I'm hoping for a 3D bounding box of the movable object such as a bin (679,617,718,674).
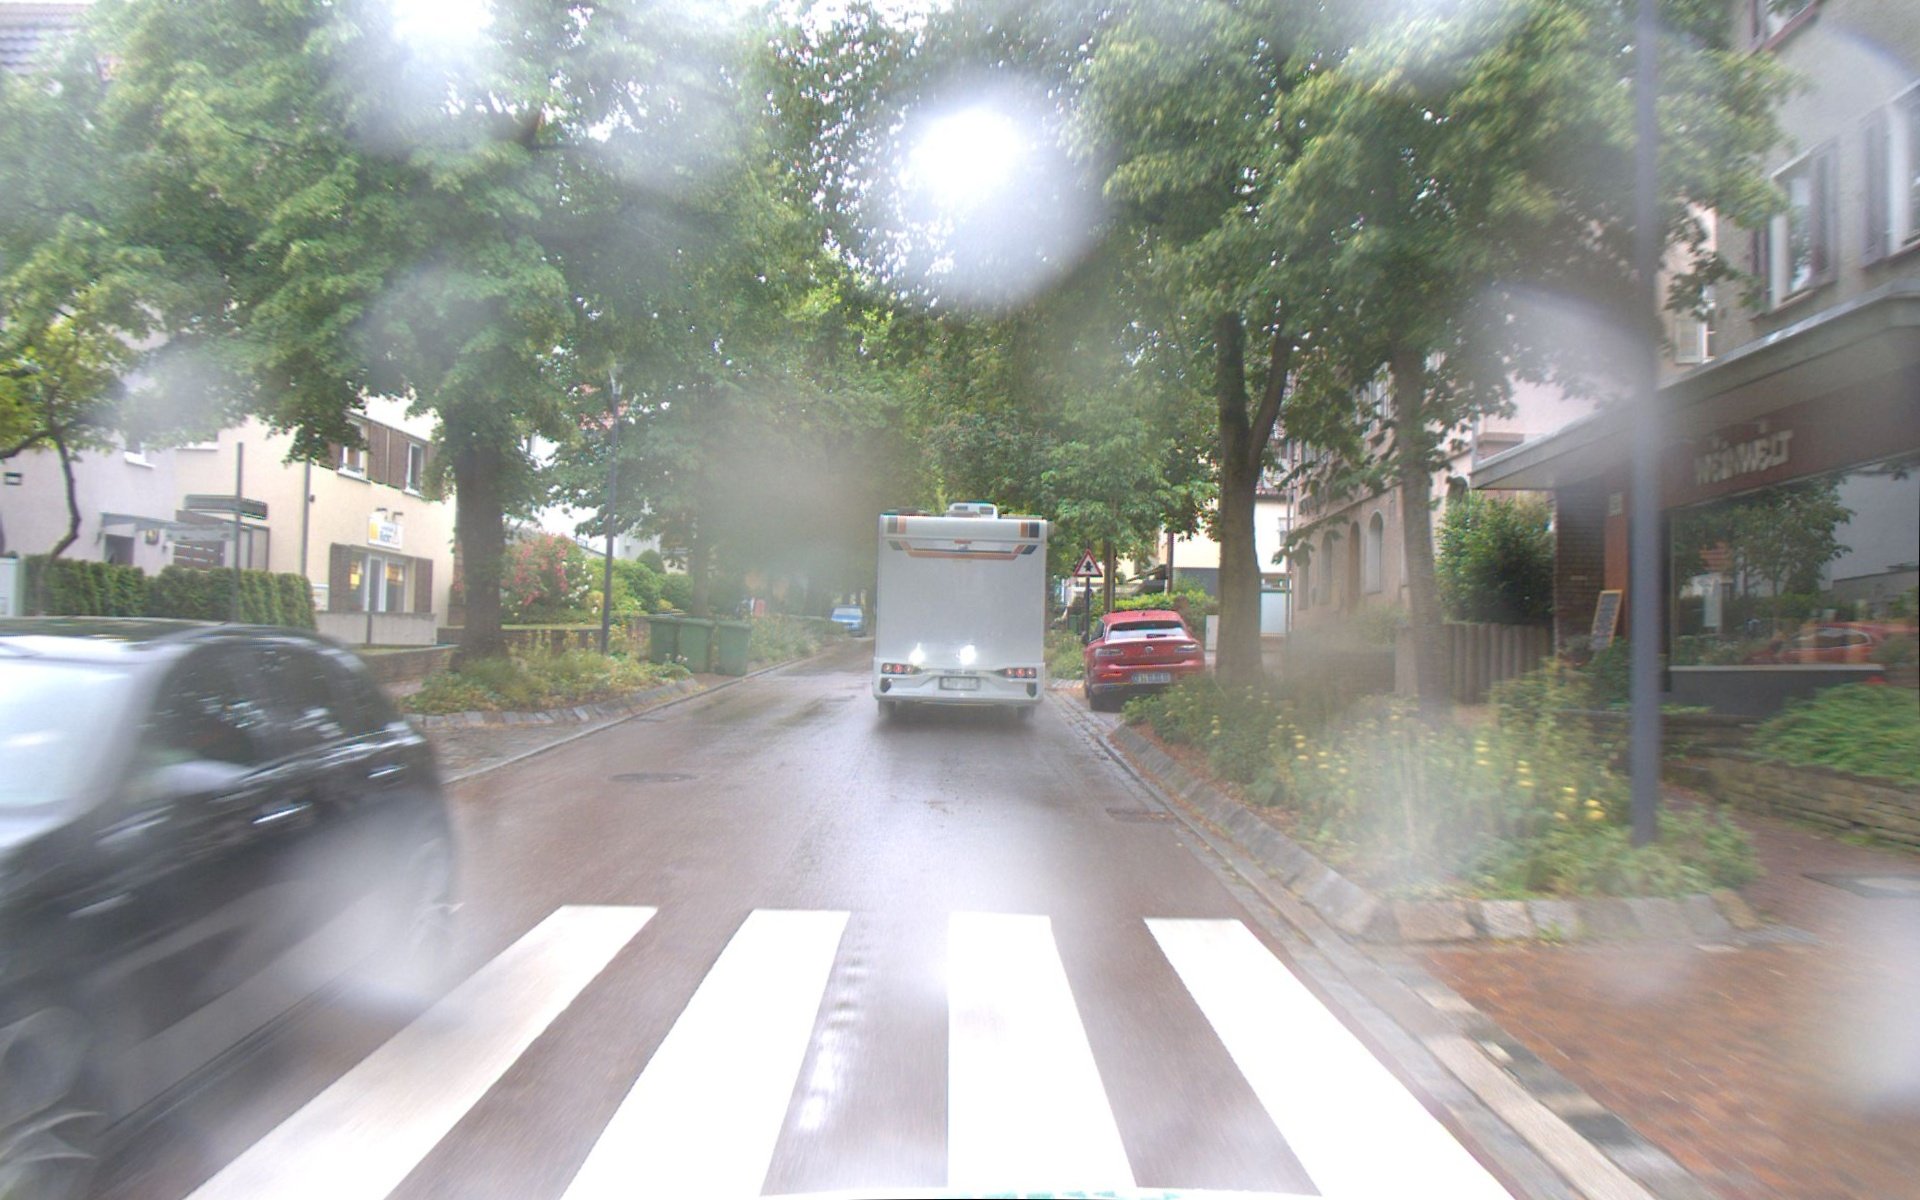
[{"bbox_3d":[-5.254,0.912,33.282,0.656,1.124,0.817,1,-1,-1],"label":"movable object such as a bin"}]

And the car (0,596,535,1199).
[{"bbox_3d":[-2.761,0.745,4.803,1.817,1.409,4.408,3,0,0],"label":"car"}]

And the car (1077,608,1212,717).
[{"bbox_3d":[2.878,0.930,26.618,1.817,1.497,4.366,2,0,2],"label":"car"}]

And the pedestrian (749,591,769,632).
[{"bbox_3d":[-9.339,0.549,76.849,0.800,1.876,0.770,0,-1,-1],"label":"pedestrian"}]

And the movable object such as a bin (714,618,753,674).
[{"bbox_3d":[-4.546,0.921,33.267,0.656,1.114,0.817,1,-1,-1],"label":"movable object such as a bin"}]

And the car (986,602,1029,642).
[{"bbox_3d":[1.884,0.885,66.333,1.615,1.569,3.530,0,-1,0],"label":"car"}]

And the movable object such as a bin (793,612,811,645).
[{"bbox_3d":[-5.156,0.924,53.881,0.517,1.077,0.562,0,-1,0],"label":"movable object such as a bin"}]

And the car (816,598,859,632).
[{"bbox_3d":[-5.842,0.716,78.595,1.764,1.579,3.992,0,-1,-8],"label":"car"}]

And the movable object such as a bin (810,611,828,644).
[{"bbox_3d":[-4.589,0.904,53.911,0.517,1.077,0.562,0,-1,0],"label":"movable object such as a bin"}]

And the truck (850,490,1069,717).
[{"bbox_3d":[-0.043,0.100,23.782,2.749,2.846,6.105,0,-1,-1],"label":"truck"}]

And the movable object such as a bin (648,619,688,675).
[{"bbox_3d":[-5.973,0.965,33.849,0.656,1.124,0.817,1,-1,-1],"label":"movable object such as a bin"}]
